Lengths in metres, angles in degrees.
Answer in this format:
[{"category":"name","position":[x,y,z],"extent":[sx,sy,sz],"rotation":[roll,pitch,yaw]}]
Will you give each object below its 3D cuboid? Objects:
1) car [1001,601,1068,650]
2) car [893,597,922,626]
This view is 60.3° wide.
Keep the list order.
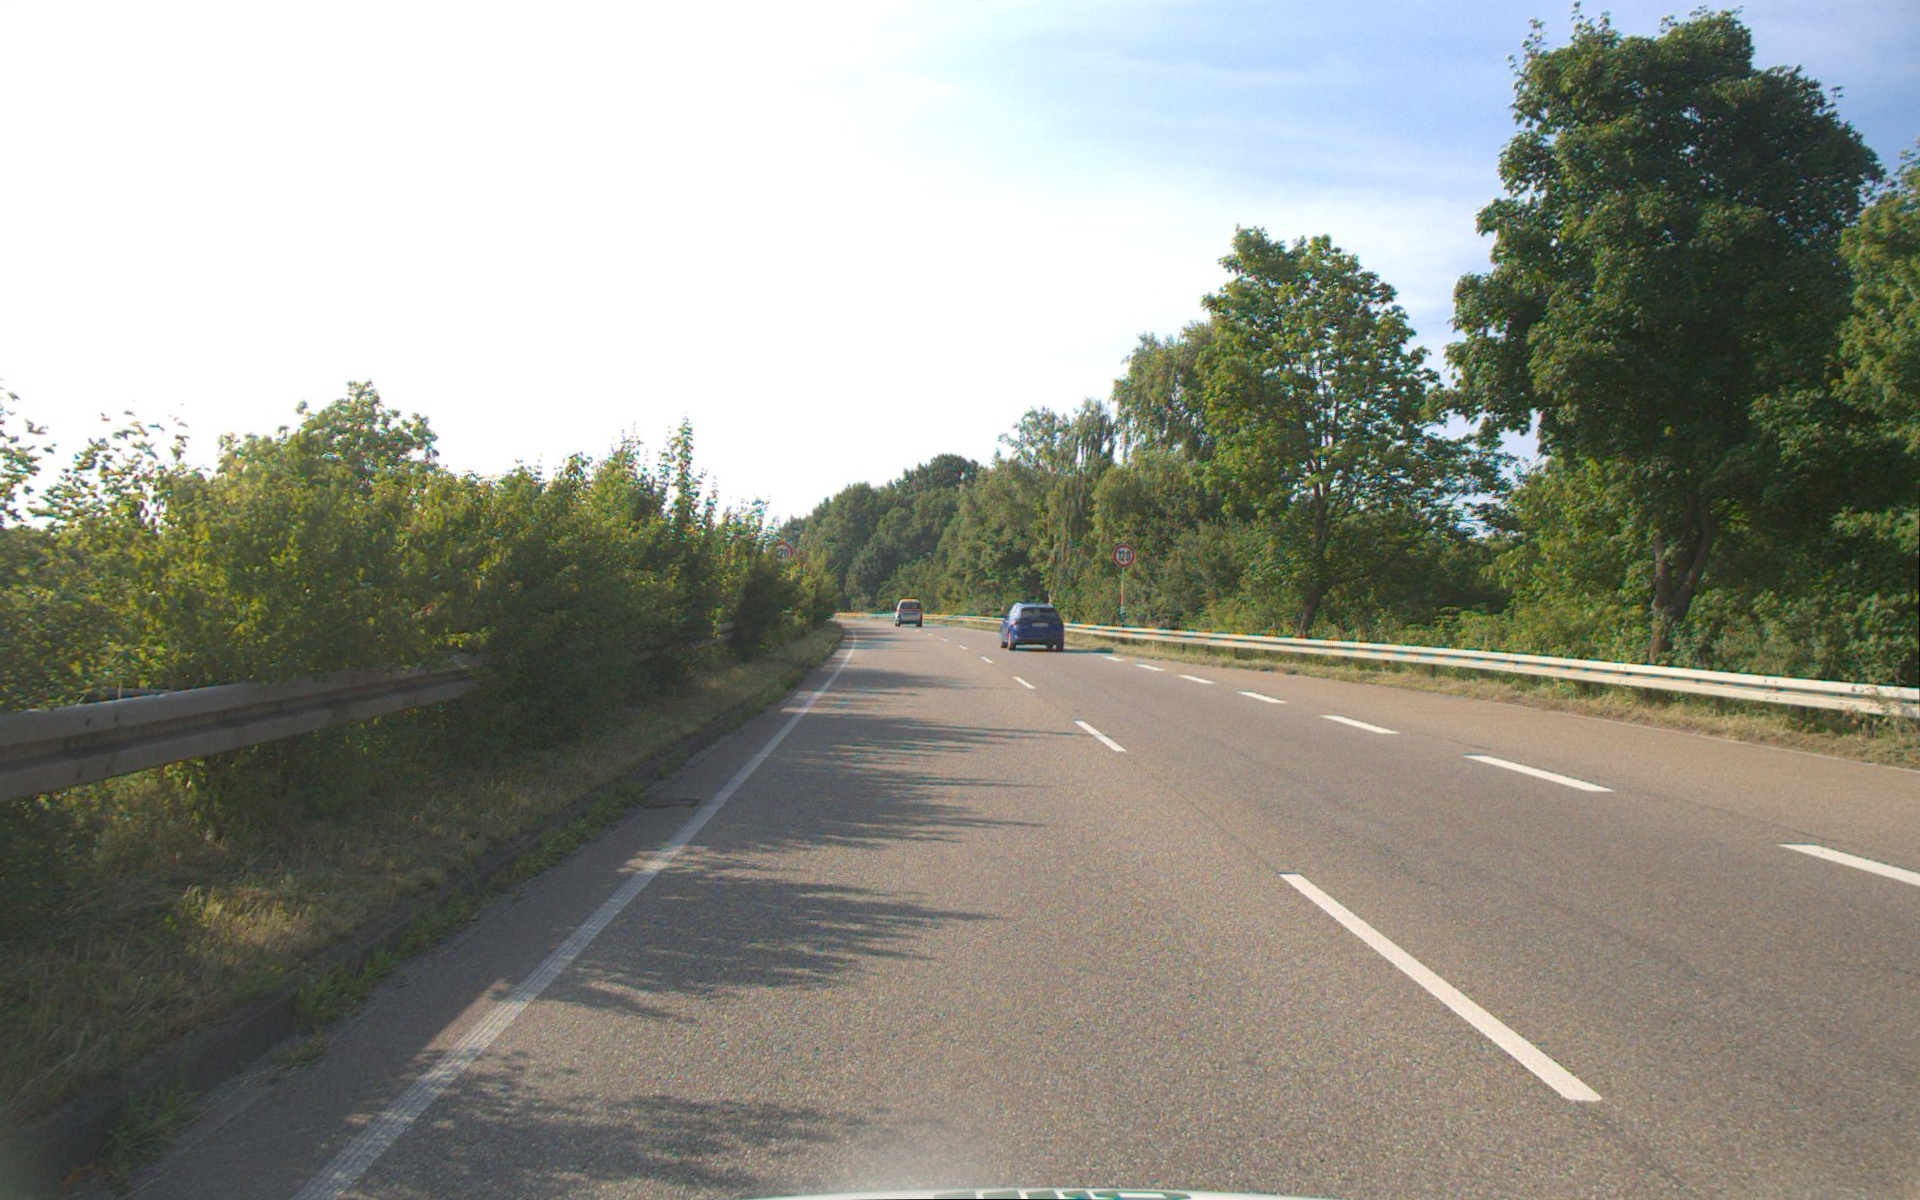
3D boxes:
[{"category":"car","position":[2.312,0.794,52.477],"extent":[1.743,1.477,3.997],"rotation":[0,-1,-3]},{"category":"car","position":[-3.565,0.759,112.037],"extent":[1.731,1.914,3.996],"rotation":[1,0,-4]}]
